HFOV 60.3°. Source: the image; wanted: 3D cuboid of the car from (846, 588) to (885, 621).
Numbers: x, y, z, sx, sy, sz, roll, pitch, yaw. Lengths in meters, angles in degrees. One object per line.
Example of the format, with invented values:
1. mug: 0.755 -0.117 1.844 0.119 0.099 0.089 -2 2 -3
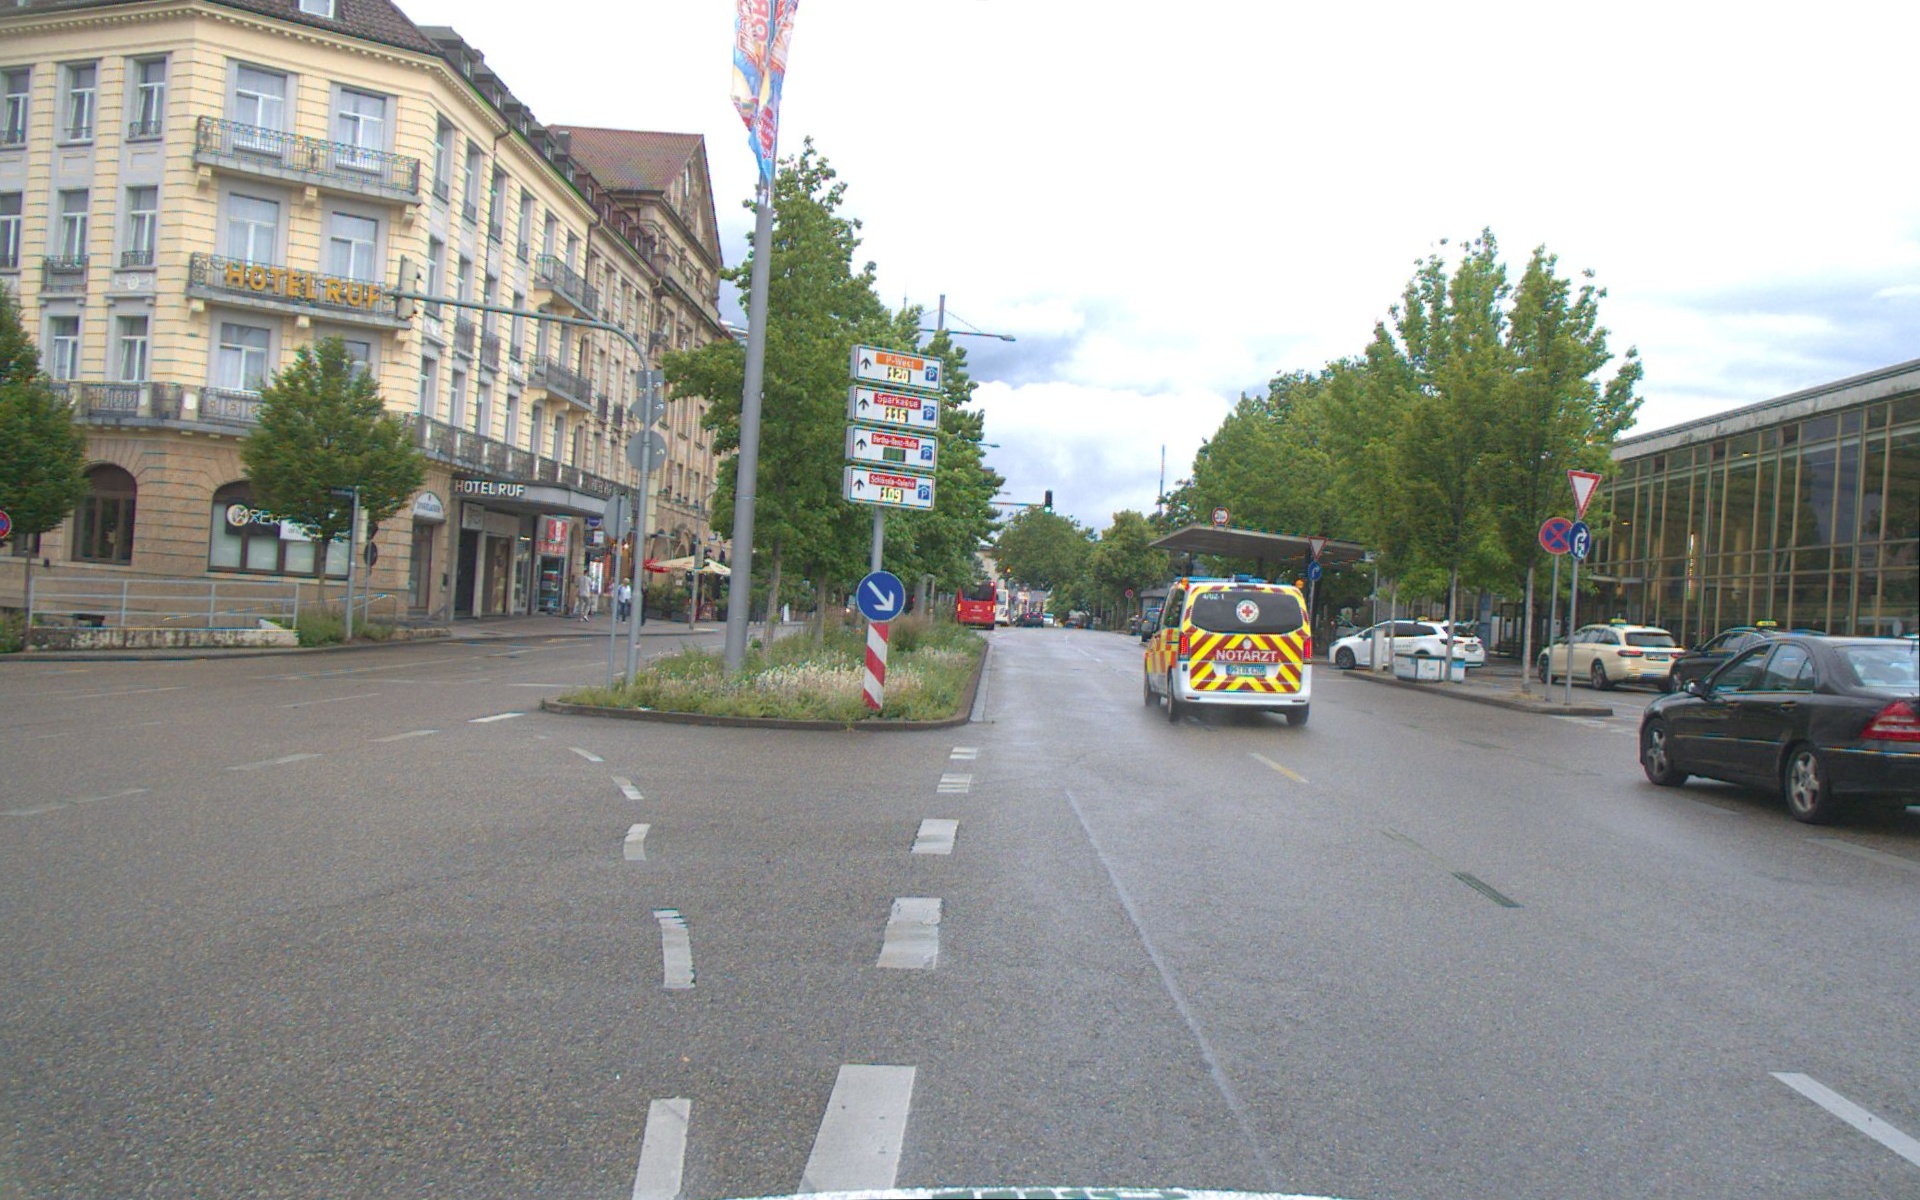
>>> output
1. car: -6.108 0.312 107.916 1.952 2.049 5.003 1 -1 3

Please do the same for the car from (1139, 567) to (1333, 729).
1. car: 3.820 0.638 23.776 1.952 2.049 5.061 1 -1 0

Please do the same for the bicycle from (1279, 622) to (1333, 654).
1. bicycle: 12.071 1.319 57.760 1.789 1.074 0.420 1 -1 1

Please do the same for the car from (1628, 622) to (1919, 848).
1. car: 7.096 0.942 13.257 1.660 1.491 4.451 1 -1 0

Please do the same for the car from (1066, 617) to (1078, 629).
1. car: 15.929 3.268 235.925 1.562 1.588 3.651 1 -1 2

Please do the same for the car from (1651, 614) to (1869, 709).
1. car: 15.811 1.154 33.019 1.953 1.627 4.958 3 0 1

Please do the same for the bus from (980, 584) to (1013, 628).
1. bus: 3.239 0.577 149.016 2.748 3.812 10.444 1 -1 0

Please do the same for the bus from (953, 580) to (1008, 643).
1. bus: 1.468 0.801 112.242 3.471 4.049 11.173 1 -1 1

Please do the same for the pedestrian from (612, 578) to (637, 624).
1. pedestrian: -12.510 0.049 61.699 0.667 1.693 0.807 1 -1 5

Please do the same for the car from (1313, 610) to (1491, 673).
1. car: 12.239 1.125 46.093 1.745 1.573 4.713 3 -1 -37

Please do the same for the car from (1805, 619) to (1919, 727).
1. car: 15.787 1.153 26.651 1.952 1.627 4.959 1 0 2

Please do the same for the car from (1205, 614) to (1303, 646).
1. car: 13.693 1.390 77.097 4.120 1.348 1.831 3 -1 -18

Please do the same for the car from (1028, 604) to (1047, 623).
1. car: 8.605 1.526 183.570 1.952 2.049 4.001 1 -1 2

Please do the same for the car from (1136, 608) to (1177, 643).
1. car: 9.517 1.246 80.338 1.819 1.596 4.002 2 -1 6

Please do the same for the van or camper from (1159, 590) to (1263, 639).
1. van or camper: 14.806 0.874 97.551 5.872 2.811 2.181 1 -1 -26

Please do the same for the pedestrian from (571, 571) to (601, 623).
1. pedestrian: -13.398 -0.105 59.240 0.861 1.844 0.750 1 -1 1

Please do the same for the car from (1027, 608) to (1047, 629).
1. car: 7.808 1.892 168.027 1.952 2.049 4.001 1 -1 2

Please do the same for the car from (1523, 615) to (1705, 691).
1. car: 15.450 1.205 39.394 1.955 1.627 4.952 1 0 -6

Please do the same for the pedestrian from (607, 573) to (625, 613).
1. pedestrian: -14.635 -0.299 70.415 0.654 1.693 0.536 1 -1 -7

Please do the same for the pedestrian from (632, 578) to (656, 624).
1. pedestrian: -11.776 0.050 61.622 0.667 1.693 0.807 1 -1 2
